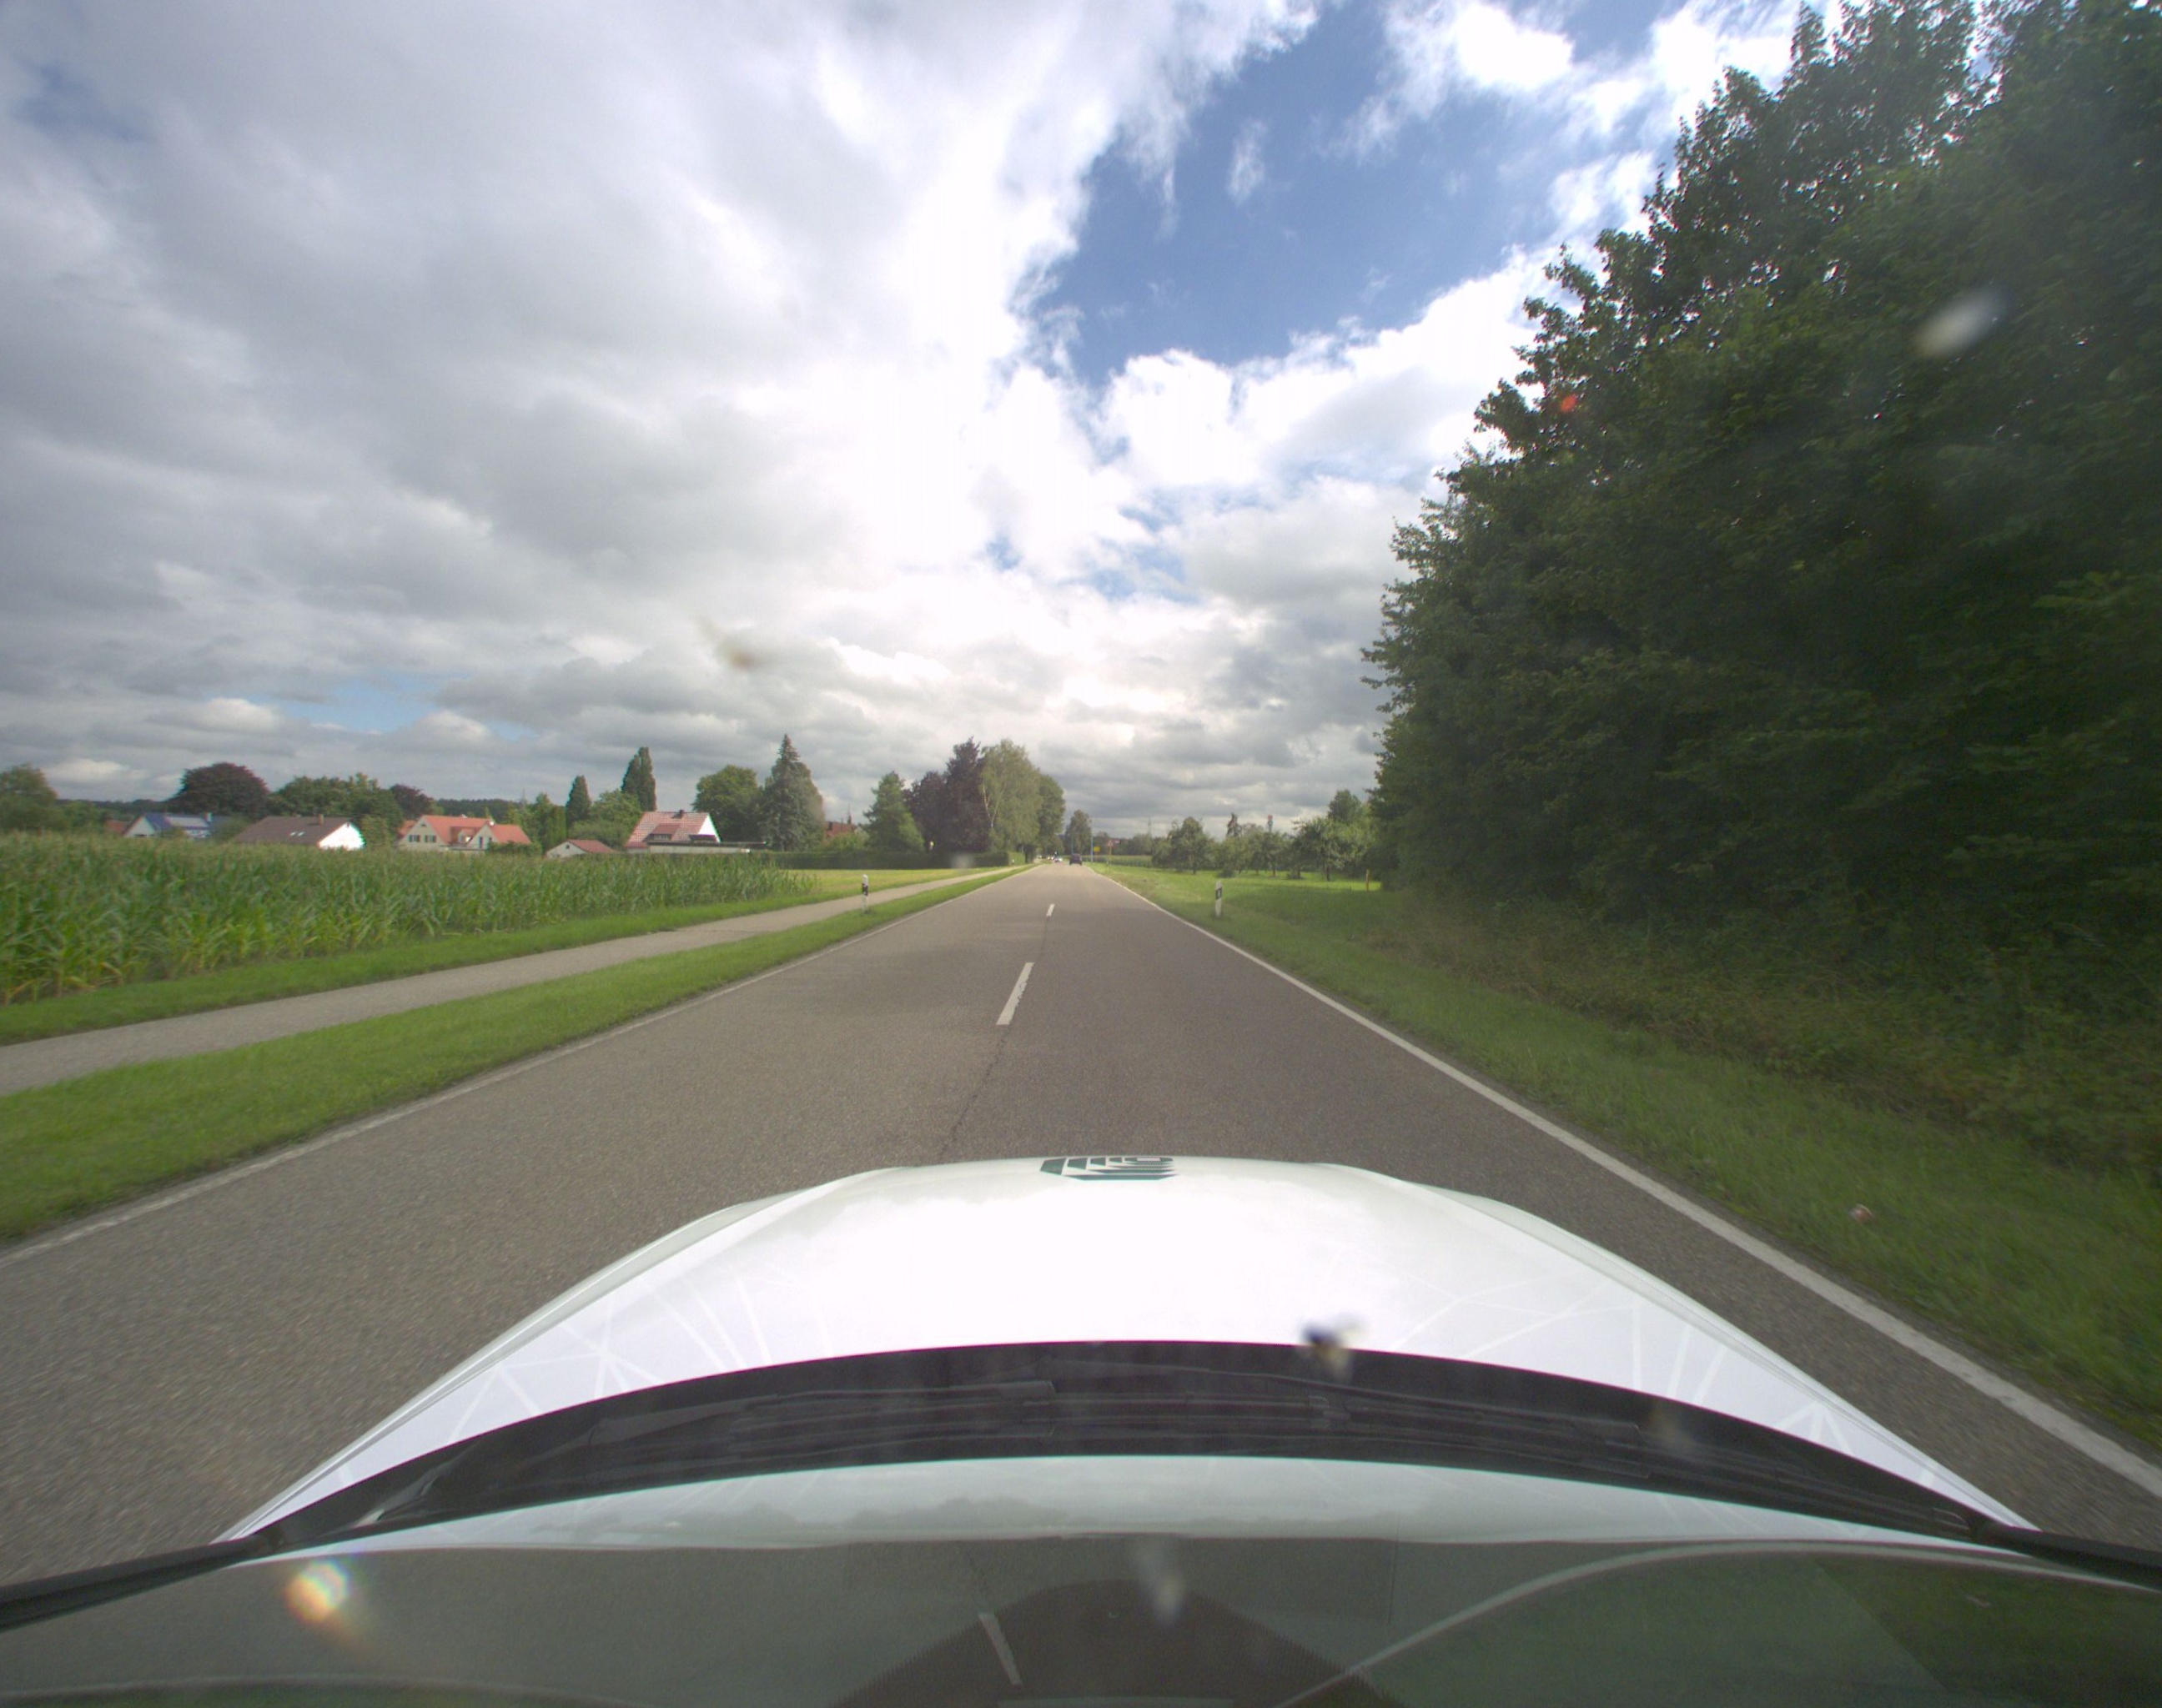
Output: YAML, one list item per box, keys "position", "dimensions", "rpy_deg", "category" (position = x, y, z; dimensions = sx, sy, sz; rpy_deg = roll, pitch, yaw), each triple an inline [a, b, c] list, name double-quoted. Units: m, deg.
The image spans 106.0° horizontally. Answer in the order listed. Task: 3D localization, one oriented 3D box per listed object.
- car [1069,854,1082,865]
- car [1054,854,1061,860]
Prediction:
- position: [-0.785, 0.801, 121.750]
  dimensions: [1.900, 1.666, 4.000]
  rpy_deg: [0, 0, 0]
  category: "car"
- position: [-5.830, 0.732, 200.163]
  dimensions: [1.690, 1.459, 3.542]
  rpy_deg: [0, 0, -1]
  category: "car"
